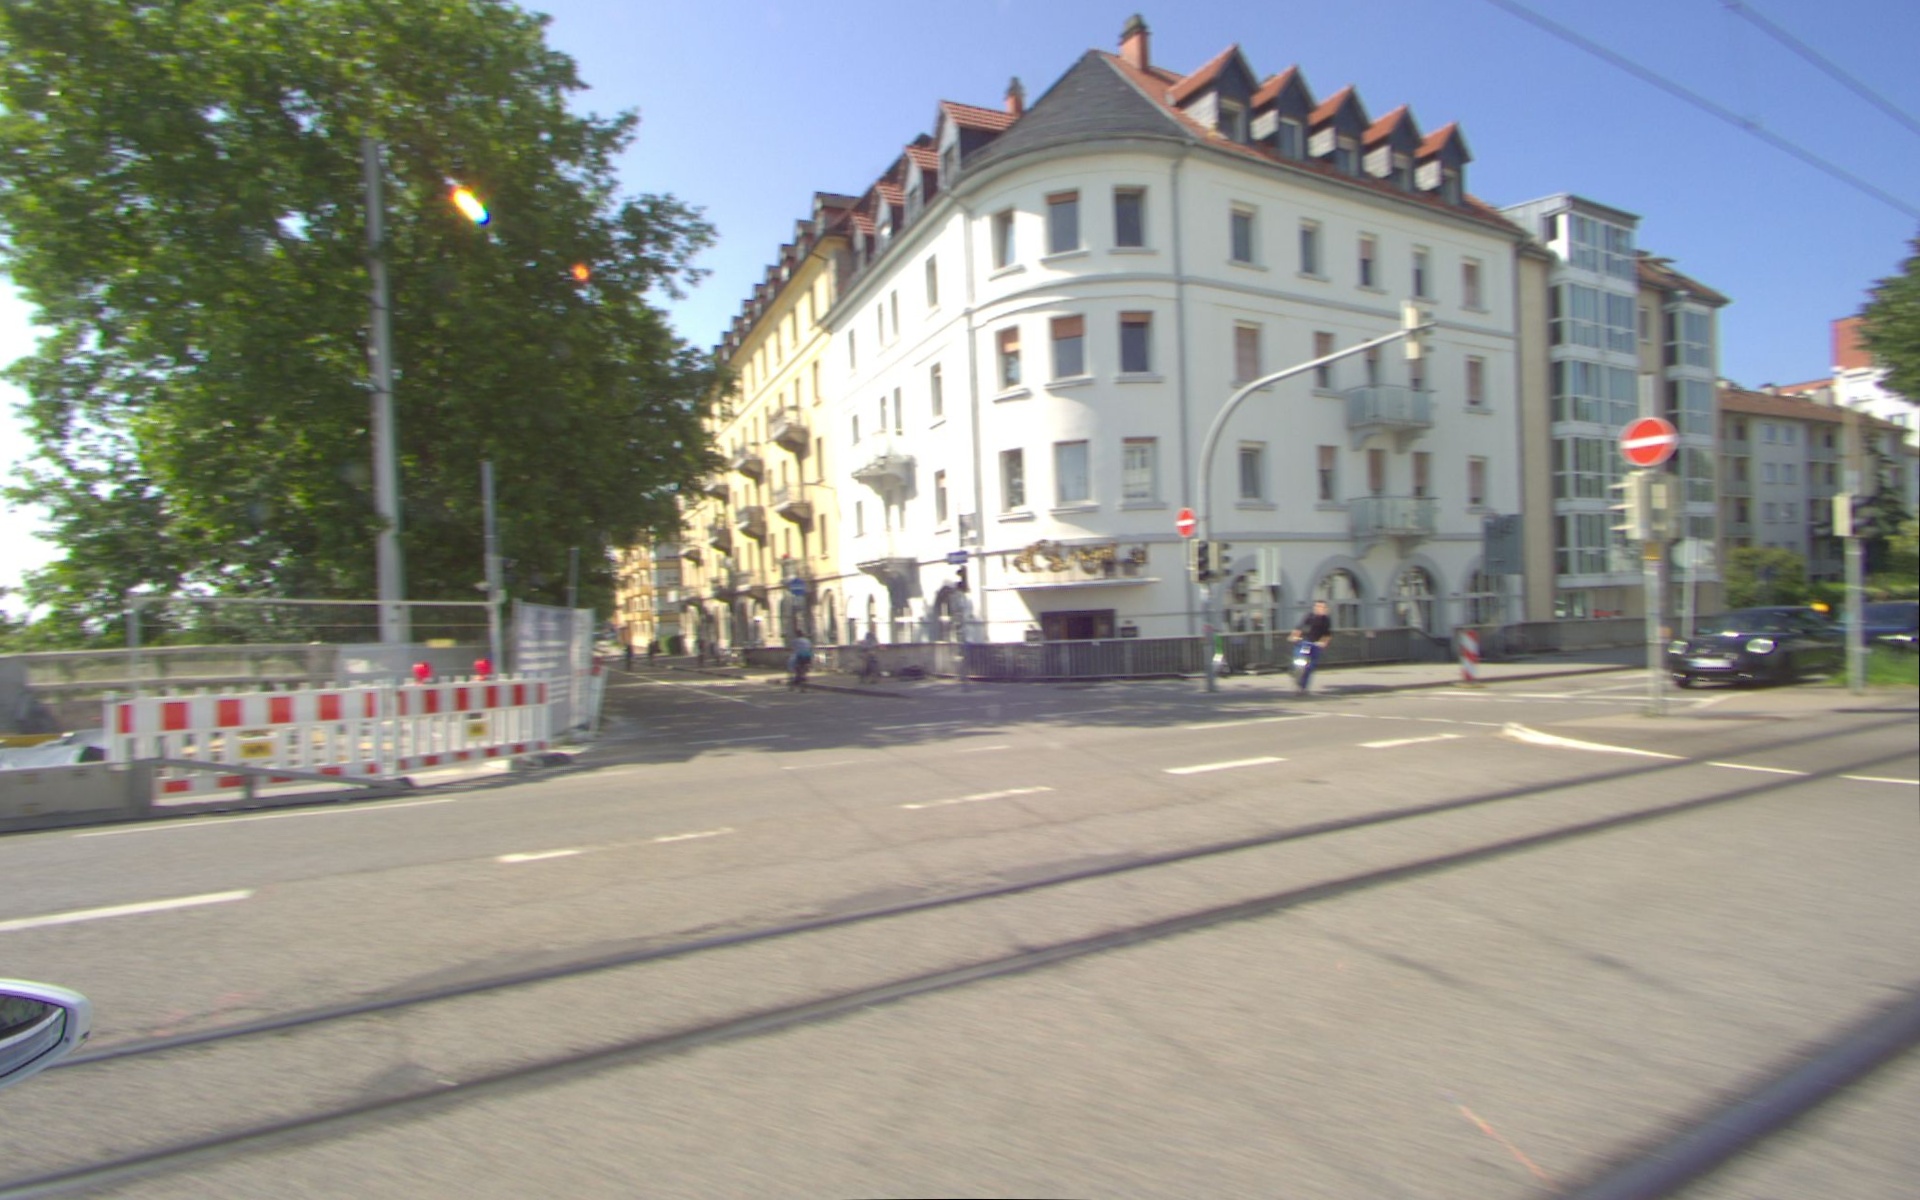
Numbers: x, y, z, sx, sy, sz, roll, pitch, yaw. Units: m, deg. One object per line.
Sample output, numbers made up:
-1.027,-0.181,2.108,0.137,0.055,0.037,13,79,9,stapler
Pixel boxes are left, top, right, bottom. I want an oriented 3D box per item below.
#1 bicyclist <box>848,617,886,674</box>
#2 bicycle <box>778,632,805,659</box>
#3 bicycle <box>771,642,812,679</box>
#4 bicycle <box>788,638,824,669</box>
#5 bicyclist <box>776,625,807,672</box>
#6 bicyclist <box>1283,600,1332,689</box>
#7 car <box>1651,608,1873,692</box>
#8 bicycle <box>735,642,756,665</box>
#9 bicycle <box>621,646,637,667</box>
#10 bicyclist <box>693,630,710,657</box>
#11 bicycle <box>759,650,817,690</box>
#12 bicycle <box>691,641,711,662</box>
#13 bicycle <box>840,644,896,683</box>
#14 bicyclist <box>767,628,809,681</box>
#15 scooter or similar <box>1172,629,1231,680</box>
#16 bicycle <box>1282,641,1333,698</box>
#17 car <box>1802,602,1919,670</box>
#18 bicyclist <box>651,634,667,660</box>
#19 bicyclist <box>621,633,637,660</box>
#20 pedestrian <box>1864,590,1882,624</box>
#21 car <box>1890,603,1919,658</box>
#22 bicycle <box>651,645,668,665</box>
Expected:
-2.670,1.286,28.682,0.701,1.571,0.778,-4,2,-38,bicyclist
-7.231,1.920,42.817,0.671,1.089,2.286,-1,-1,-22,bicycle
-5.672,1.998,33.619,0.826,1.151,2.852,-1,-1,-20,bicycle
-5.968,2.041,38.683,0.826,1.151,2.852,-1,-1,-20,bicycle
-5.657,1.600,33.525,0.826,1.527,0.950,-1,-1,-20,bicyclist
6.700,0.868,19.295,0.796,1.674,1.007,-2,-3,23,bicyclist
14.726,0.870,18.370,3.940,1.338,1.761,-1,-2,-28,car
-11.157,2.769,52.049,0.671,1.089,2.286,-1,-1,-22,bicycle
-19.623,3.313,59.414,0.826,1.151,2.853,-1,-1,-19,bicycle
-14.853,2.493,57.497,0.826,1.557,1.021,-1,-1,-20,bicyclist
-4.813,1.926,27.922,0.855,1.003,2.235,-1,-1,-30,bicycle
-14.909,2.930,57.667,0.826,1.151,2.853,-1,-1,-20,bicycle
-2.661,1.805,28.716,0.701,1.004,1.805,-4,1,-38,bicycle
-4.803,1.508,27.914,0.855,1.434,0.912,-1,-1,-30,bicyclist
5.593,1.246,23.215,1.280,1.132,0.339,-1,0,-11,scooter or similar
6.709,1.326,19.288,0.808,1.033,1.908,-2,-3,22,bicycle
20.596,0.756,22.165,3.942,1.371,1.760,-1,-2,-30,car
-18.412,2.873,61.231,0.826,1.557,1.021,-1,-1,-20,bicyclist
-19.641,2.741,59.451,0.826,1.557,1.021,-1,-1,-20,bicyclist
49.173,0.390,53.931,0.742,1.786,0.595,-1,0,-36,pedestrian
25.601,0.718,25.502,3.943,1.371,1.759,-1,-2,-31,car
-18.409,3.344,61.225,0.826,1.151,2.853,-1,-1,-20,bicycle
